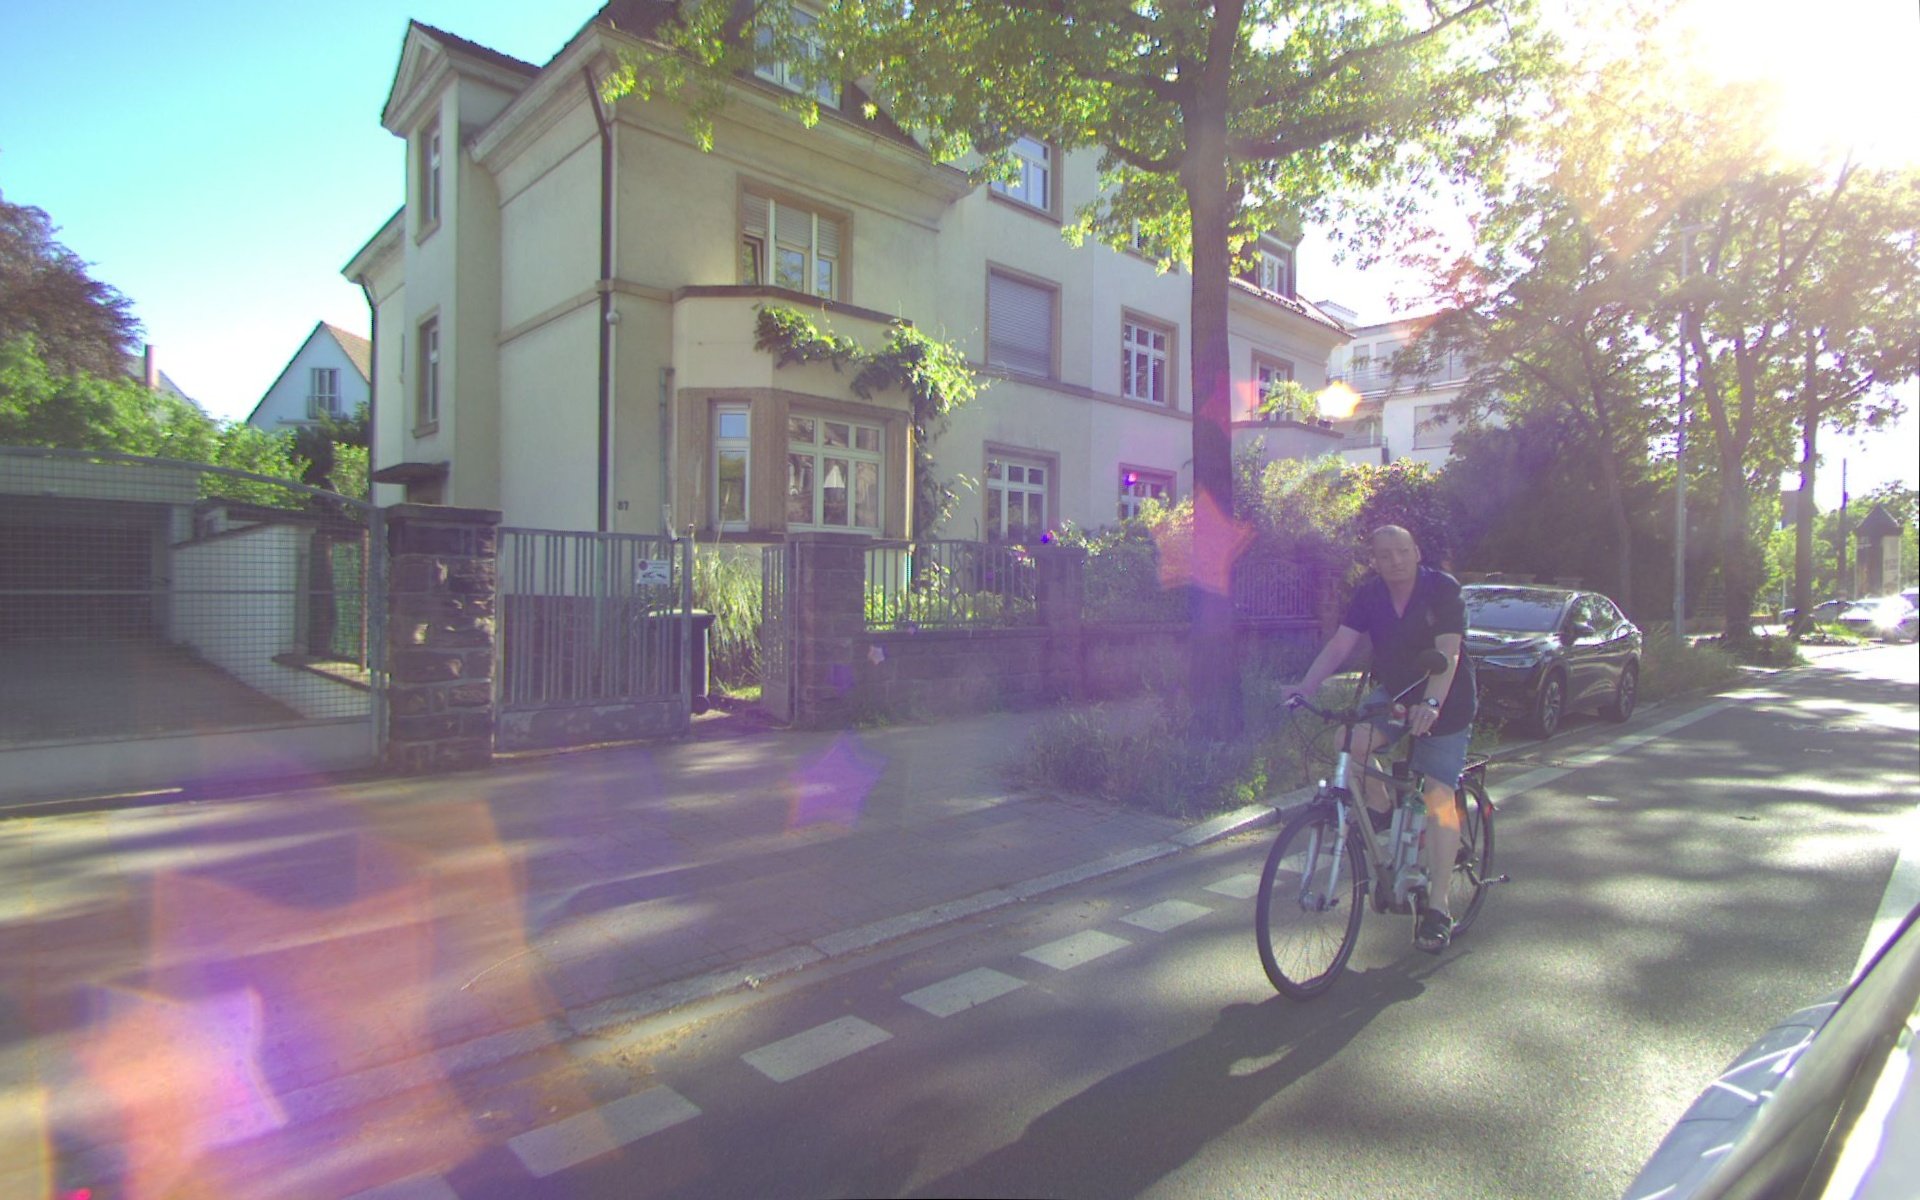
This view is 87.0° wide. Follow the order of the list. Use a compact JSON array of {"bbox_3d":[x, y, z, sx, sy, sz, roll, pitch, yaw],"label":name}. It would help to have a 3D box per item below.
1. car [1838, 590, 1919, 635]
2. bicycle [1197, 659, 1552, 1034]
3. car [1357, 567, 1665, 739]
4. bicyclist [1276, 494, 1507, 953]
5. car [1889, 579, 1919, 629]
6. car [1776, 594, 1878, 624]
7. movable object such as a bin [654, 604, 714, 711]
[{"bbox_3d":[31.512,0.383,34.276,4.181,1.427,1.901,0,1,-38],"label":"car"},{"bbox_3d":[1.765,0.859,4.151,1.823,1.125,0.588,0,0,-41],"label":"bicycle"},{"bbox_3d":[6.710,0.497,12.138,4.186,1.619,1.917,0,4,-42],"label":"car"},{"bbox_3d":[1.755,0.442,4.124,0.654,1.662,0.643,0,0,-41],"label":"bicyclist"},{"bbox_3d":[36.672,0.129,37.858,4.580,1.808,1.903,0,1,-35],"label":"car"},{"bbox_3d":[46.067,0.458,53.842,1.784,1.459,3.990,0,1,-44],"label":"car"},{"bbox_3d":[-2.922,0.586,10.673,0.551,1.062,0.676,0,0,-20],"label":"movable object such as a bin"}]
